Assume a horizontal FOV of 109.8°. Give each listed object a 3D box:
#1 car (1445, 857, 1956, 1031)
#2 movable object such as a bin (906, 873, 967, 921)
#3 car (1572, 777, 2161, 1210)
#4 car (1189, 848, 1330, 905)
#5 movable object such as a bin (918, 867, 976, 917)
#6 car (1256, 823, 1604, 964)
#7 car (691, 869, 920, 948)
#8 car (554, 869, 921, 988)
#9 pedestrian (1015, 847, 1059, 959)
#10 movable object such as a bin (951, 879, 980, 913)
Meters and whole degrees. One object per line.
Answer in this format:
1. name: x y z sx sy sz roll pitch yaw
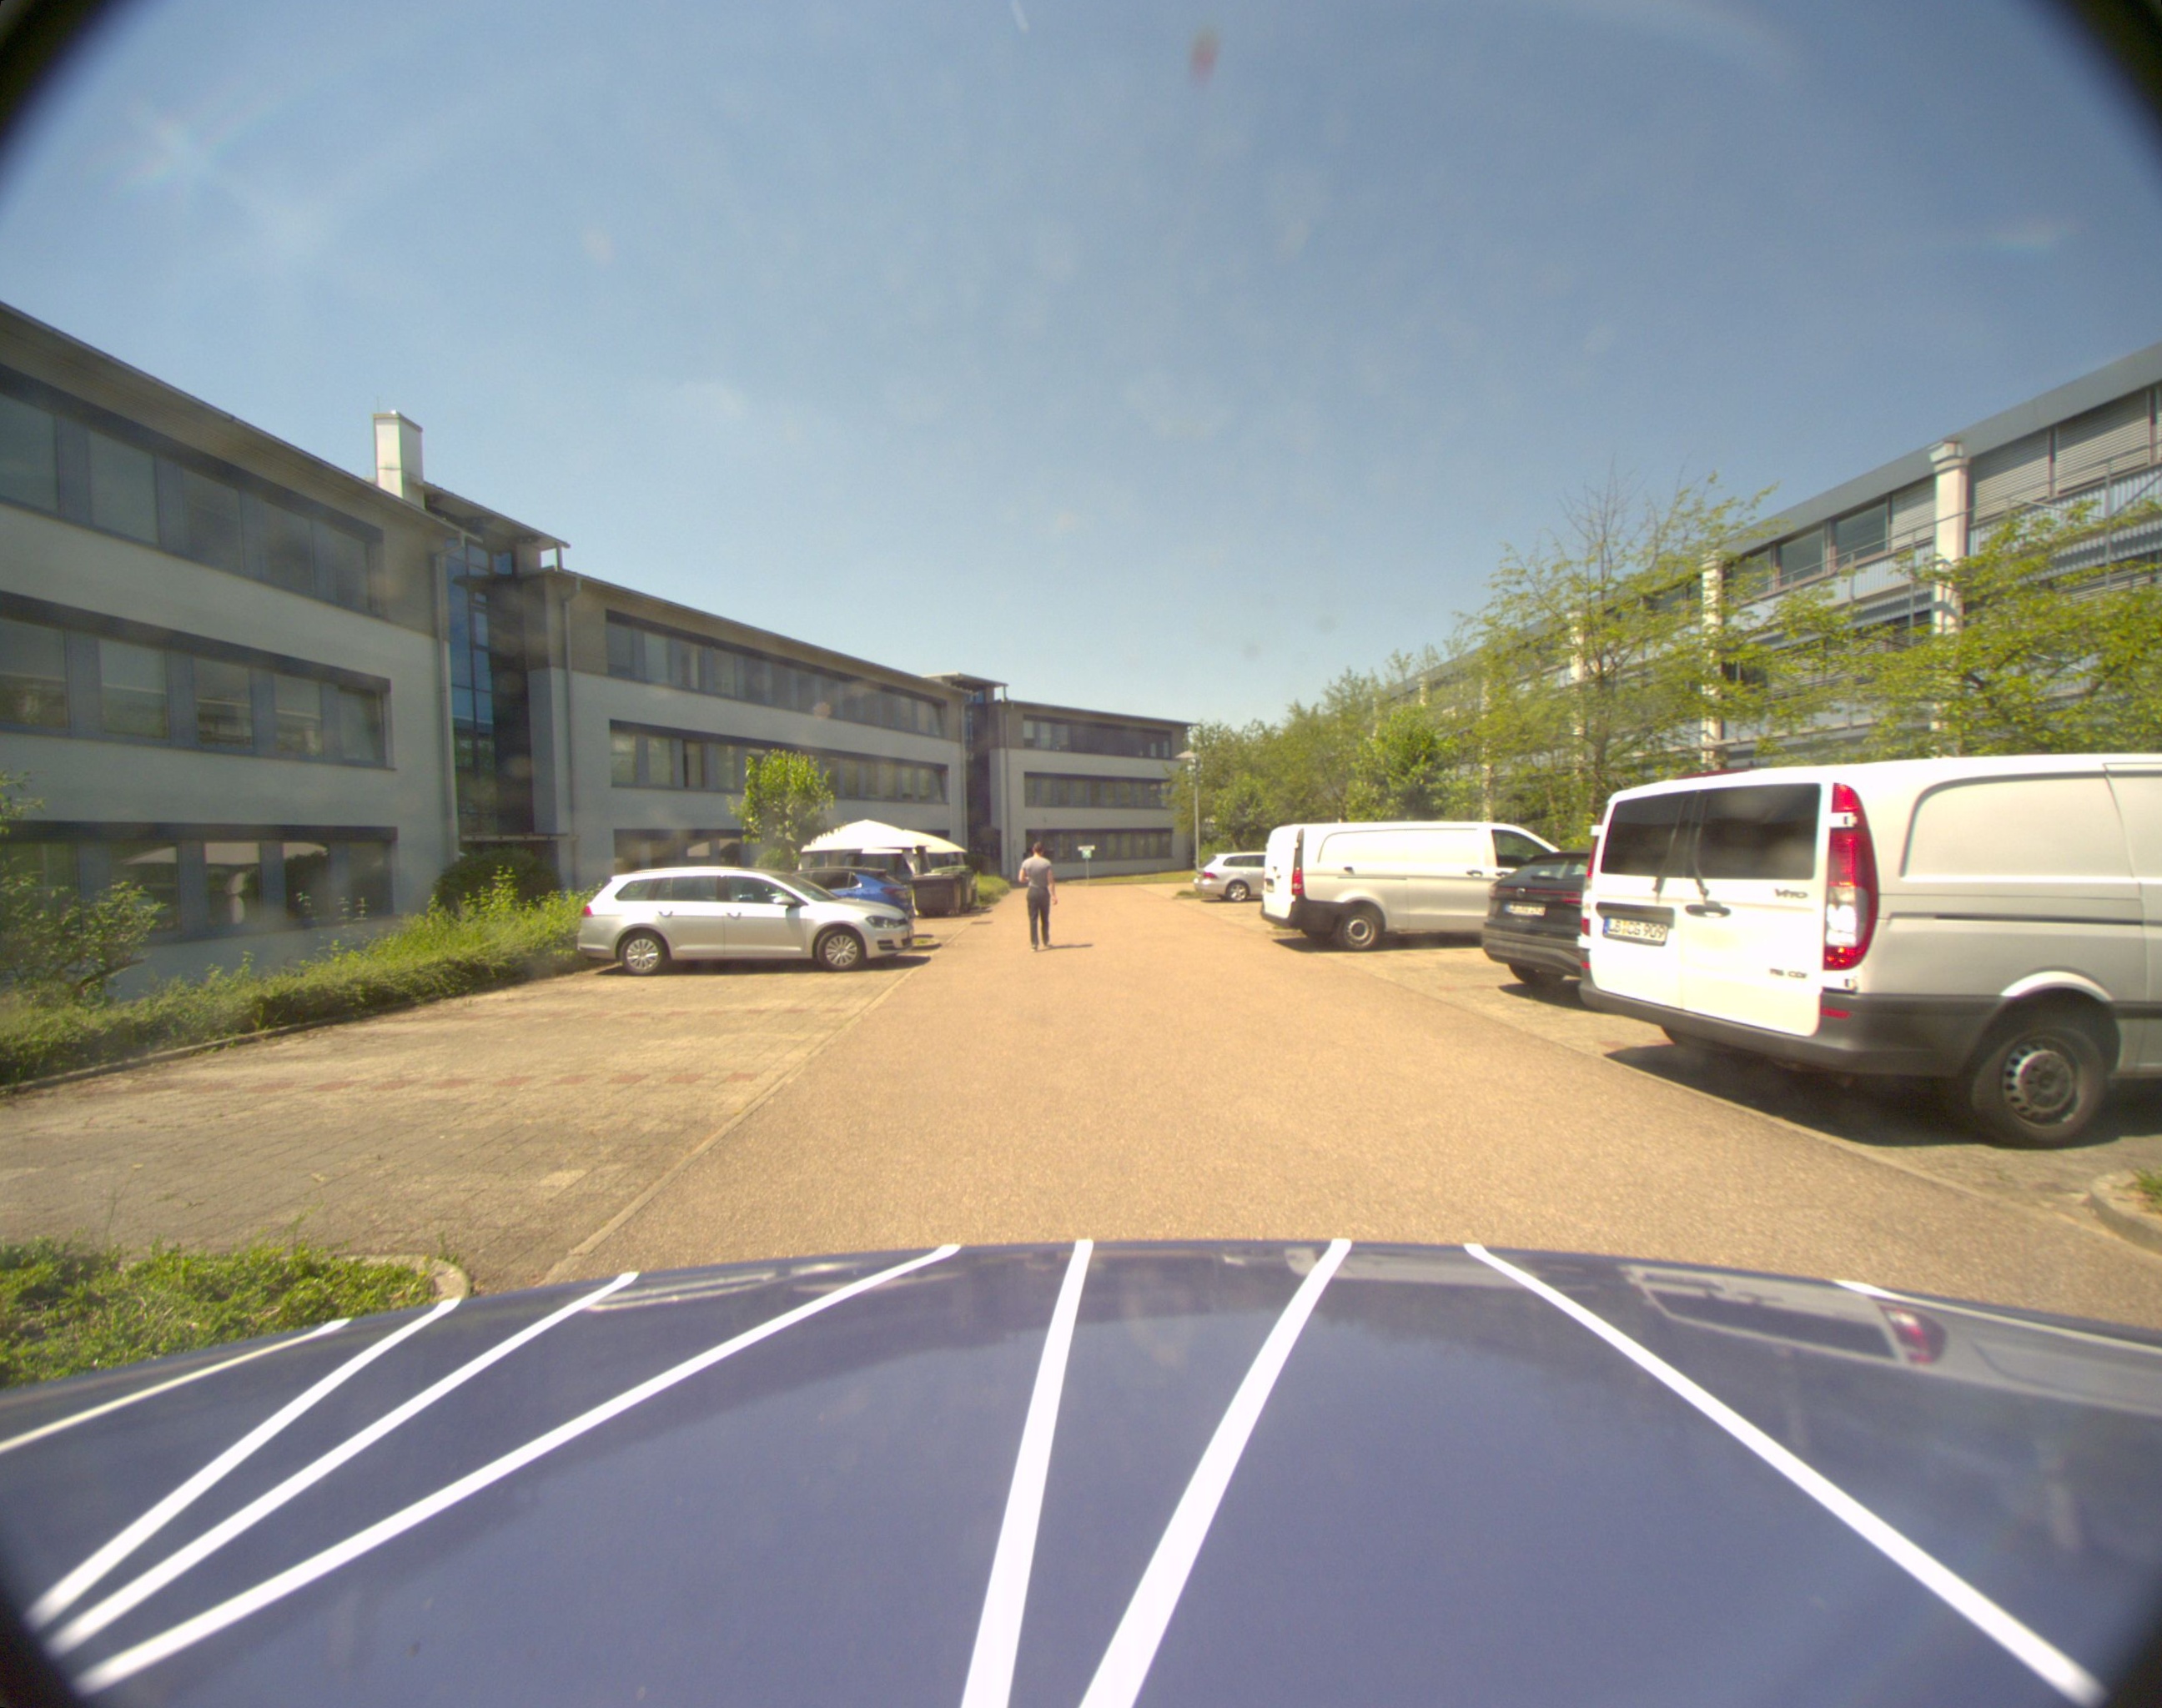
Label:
1. car: 5.884 0.783 7.483 3.850 1.385 1.576 -2 1 -4
2. movable object such as a bin: -3.800 1.130 20.125 1.363 1.182 0.997 -1 1 2
3. car: 5.779 0.568 4.429 4.733 1.895 1.829 -2 1 -4
4. car: 5.289 0.632 22.770 3.764 1.549 1.660 -2 1 -4
5. movable object such as a bin: -3.728 1.048 21.212 1.363 1.288 1.043 -1 1 2
6. car: 5.210 0.539 11.707 4.518 1.871 1.828 -2 1 -4
7. car: -5.185 0.998 14.690 3.825 1.383 1.651 0 0 -4
8. car: -4.772 1.009 11.138 4.519 1.488 1.828 0 1 -4
9. pedestrian: -0.703 0.769 12.317 0.618 1.747 0.788 -1 1 1
10. movable object such as a bin: -3.370 1.223 22.157 0.690 0.944 0.722 -1 1 3
